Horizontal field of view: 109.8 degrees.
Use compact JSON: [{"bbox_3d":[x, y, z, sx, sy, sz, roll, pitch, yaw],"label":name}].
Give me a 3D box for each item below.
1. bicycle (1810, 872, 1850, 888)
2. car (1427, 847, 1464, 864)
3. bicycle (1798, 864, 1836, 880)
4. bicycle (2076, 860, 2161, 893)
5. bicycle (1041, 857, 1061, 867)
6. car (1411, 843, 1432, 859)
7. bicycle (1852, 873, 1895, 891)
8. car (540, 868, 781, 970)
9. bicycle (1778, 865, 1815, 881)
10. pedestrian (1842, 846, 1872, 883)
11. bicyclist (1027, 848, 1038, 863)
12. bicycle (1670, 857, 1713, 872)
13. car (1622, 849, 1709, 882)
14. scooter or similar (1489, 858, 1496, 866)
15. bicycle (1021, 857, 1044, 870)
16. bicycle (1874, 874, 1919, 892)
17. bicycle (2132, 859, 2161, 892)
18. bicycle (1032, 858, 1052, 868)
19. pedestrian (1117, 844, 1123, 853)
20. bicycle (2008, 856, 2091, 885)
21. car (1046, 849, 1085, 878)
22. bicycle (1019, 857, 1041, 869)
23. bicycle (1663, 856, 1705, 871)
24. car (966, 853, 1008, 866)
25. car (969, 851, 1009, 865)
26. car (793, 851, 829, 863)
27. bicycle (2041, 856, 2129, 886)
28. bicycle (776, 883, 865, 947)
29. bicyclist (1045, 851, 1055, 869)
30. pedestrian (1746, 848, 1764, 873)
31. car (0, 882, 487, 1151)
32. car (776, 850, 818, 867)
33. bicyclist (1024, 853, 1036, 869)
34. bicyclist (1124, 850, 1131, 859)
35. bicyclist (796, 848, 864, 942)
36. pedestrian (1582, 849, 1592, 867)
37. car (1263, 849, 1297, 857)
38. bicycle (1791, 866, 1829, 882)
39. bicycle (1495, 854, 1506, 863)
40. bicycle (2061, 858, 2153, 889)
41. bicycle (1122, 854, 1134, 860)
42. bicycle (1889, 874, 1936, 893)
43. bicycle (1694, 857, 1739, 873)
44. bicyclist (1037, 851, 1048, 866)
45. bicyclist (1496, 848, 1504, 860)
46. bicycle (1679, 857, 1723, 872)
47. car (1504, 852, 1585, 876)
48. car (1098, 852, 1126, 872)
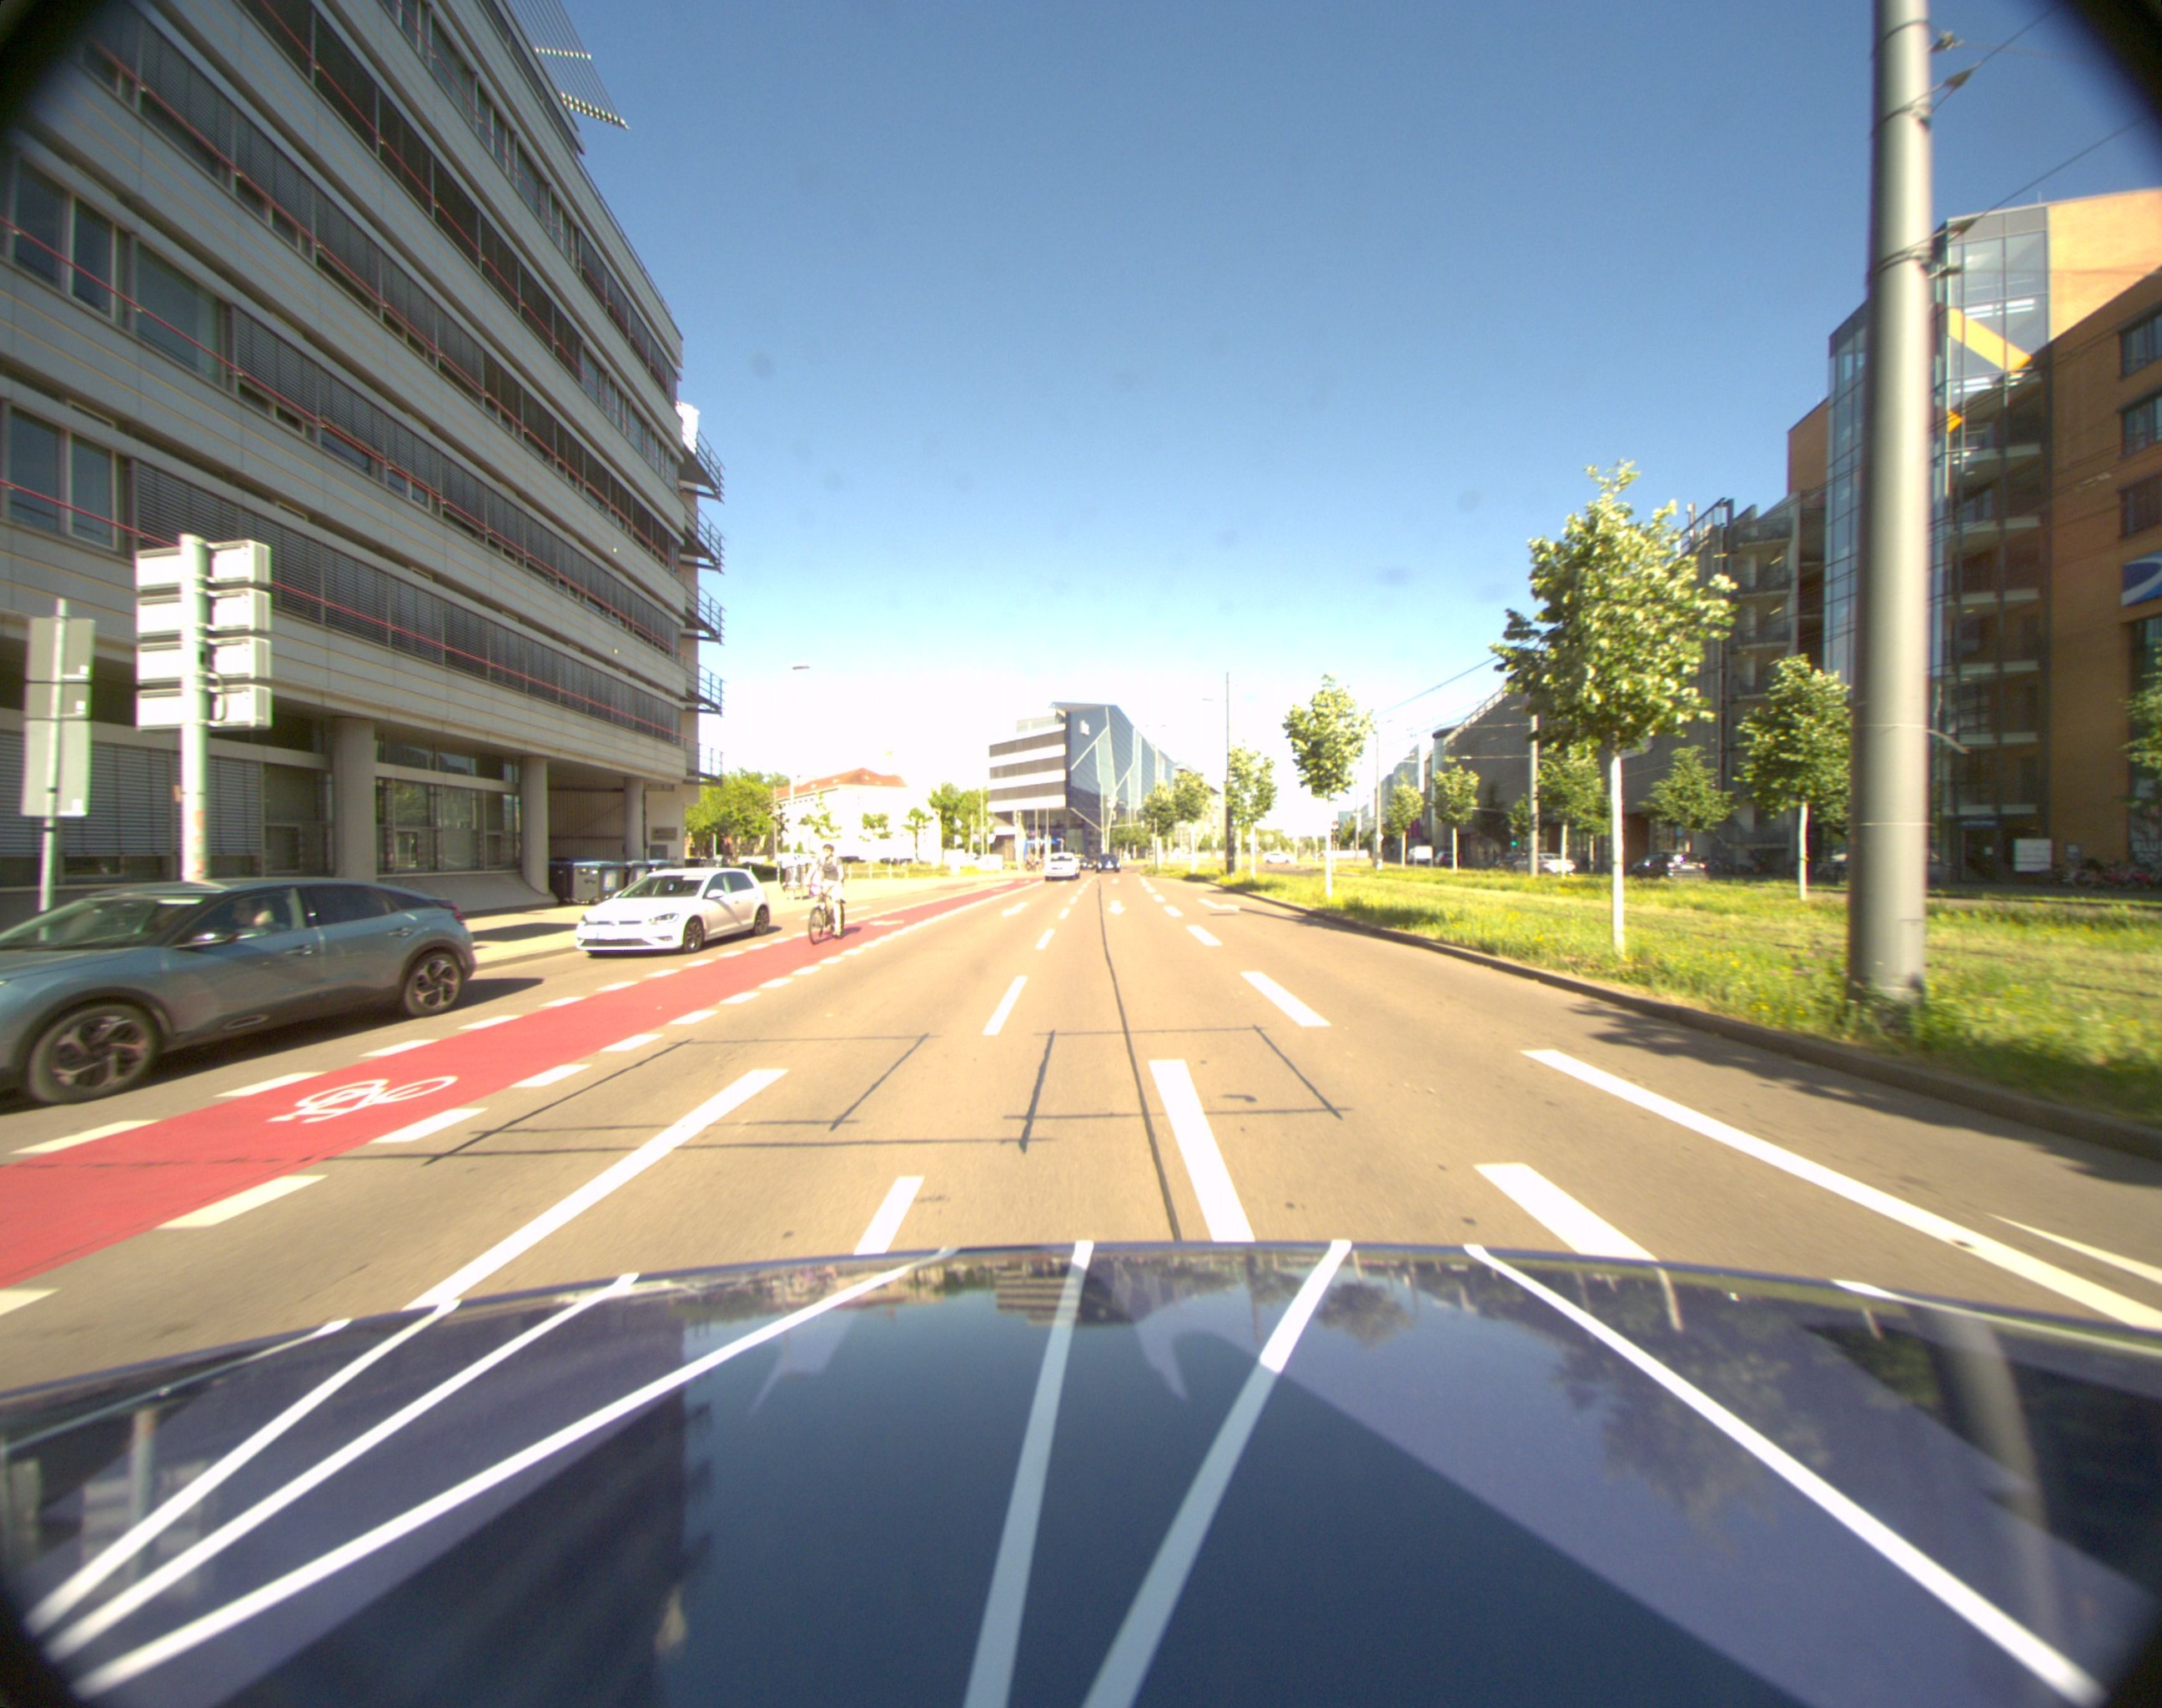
[{"bbox_3d":[38.139,1.322,38.685,1.449,0.814,0.446,-1,1,9],"label":"bicycle"},{"bbox_3d":[36.868,0.148,76.933,1.998,1.671,4.540,0,1,6],"label":"car"},{"bbox_3d":[38.796,0.964,40.050,1.449,0.814,0.446,-1,1,9],"label":"bicycle"},{"bbox_3d":[38.330,0.828,27.958,2.177,1.117,0.754,-1,1,9],"label":"bicycle"},{"bbox_3d":[-2.989,0.807,76.335,1.893,1.032,0.607,1,0,9],"label":"bicycle"},{"bbox_3d":[43.713,-0.412,97.427,2.222,2.002,5.265,0,1,26],"label":"car"},{"bbox_3d":[38.109,1.336,36.544,1.449,0.814,0.446,-1,1,9],"label":"bicycle"},{"bbox_3d":[-7.329,1.040,13.855,1.777,1.395,4.294,-3,0,3],"label":"car"},{"bbox_3d":[39.051,1.041,41.488,1.449,0.814,0.446,-1,1,9],"label":"bicycle"},{"bbox_3d":[36.027,0.492,35.269,0.597,1.675,0.778,0,1,2],"label":"pedestrian"},{"bbox_3d":[-4.390,0.130,68.549,0.736,1.369,0.698,1,0,30],"label":"bicyclist"},{"bbox_3d":[39.506,0.666,49.193,2.177,0.949,0.493,-1,1,9],"label":"bicycle"},{"bbox_3d":[25.853,0.477,33.754,1.431,1.352,3.296,0,1,3],"label":"car"},{"bbox_3d":[43.833,0.826,80.913,0.301,0.846,1.228,0,1,12],"label":"scooter or similar"},{"bbox_3d":[-4.351,0.836,68.517,2.006,1.098,0.698,1,0,30],"label":"bicycle"},{"bbox_3d":[37.689,1.348,35.137,1.449,0.814,0.446,-1,1,9],"label":"bicycle"},{"bbox_3d":[38.256,0.730,26.367,2.177,1.117,0.754,-1,1,9],"label":"bicycle"},{"bbox_3d":[-3.705,0.825,71.635,1.704,0.948,0.697,1,0,15],"label":"bicycle"},{"bbox_3d":[6.319,-0.920,123.124,0.855,1.547,0.614,0,1,21],"label":"pedestrian"},{"bbox_3d":[39.521,0.674,31.029,2.177,1.117,0.754,-1,1,9],"label":"bicycle"},{"bbox_3d":[-0.915,0.537,46.667,1.873,1.621,4.339,-1,1,5],"label":"car"},{"bbox_3d":[-5.216,0.964,77.987,2.007,1.098,0.698,4,1,17],"label":"bicycle"},{"bbox_3d":[39.535,0.624,49.794,2.177,0.949,0.493,-1,1,9],"label":"bicycle"},{"bbox_3d":[-11.164,0.630,90.276,4.475,1.423,1.843,0,2,16],"label":"car"},{"bbox_3d":[-10.422,0.456,86.033,3.991,1.547,1.877,0,1,18],"label":"car"},{"bbox_3d":[-34.479,0.406,96.979,3.991,1.547,1.877,0,1,20],"label":"car"},{"bbox_3d":[39.540,0.669,29.940,2.177,1.117,0.754,-1,1,9],"label":"bicycle"},{"bbox_3d":[-4.880,1.119,14.391,0.827,1.031,1.892,-2,0,6],"label":"bicycle"},{"bbox_3d":[-3.128,0.557,76.357,0.905,1.788,0.550,1,0,9],"label":"bicyclist"},{"bbox_3d":[41.018,0.397,46.253,0.636,1.544,0.662,0,1,21],"label":"pedestrian"},{"bbox_3d":[-7.644,1.103,6.430,1.726,1.515,4.398,-1,1,1],"label":"car"},{"bbox_3d":[-34.866,0.536,93.252,4.644,1.970,1.877,0,1,20],"label":"car"},{"bbox_3d":[-5.254,0.722,77.998,1.001,1.645,0.596,4,1,17],"label":"bicyclist"},{"bbox_3d":[6.891,0.075,112.371,0.760,1.402,0.773,0,1,27],"label":"bicyclist"},{"bbox_3d":[-4.724,0.743,14.370,0.808,1.683,1.051,-2,1,6],"label":"bicyclist"},{"bbox_3d":[42.665,0.304,64.063,0.490,1.510,0.650,0,1,20],"label":"pedestrian"},{"bbox_3d":[26.815,-0.152,102.490,3.989,1.084,2.004,0,1,31],"label":"car"},{"bbox_3d":[38.884,1.091,40.549,1.449,0.814,0.446,-1,1,9],"label":"bicycle"},{"bbox_3d":[48.218,0.542,87.380,0.597,1.004,2.572,0,1,16],"label":"bicycle"},{"bbox_3d":[39.035,0.733,28.923,2.177,1.117,0.754,-1,1,9],"label":"bicycle"},{"bbox_3d":[6.960,0.471,112.512,0.768,0.835,2.572,0,1,27],"label":"bicycle"},{"bbox_3d":[37.492,1.333,34.267,1.449,0.814,0.446,-1,1,9],"label":"bicycle"},{"bbox_3d":[39.748,0.707,47.520,2.177,0.949,0.493,-1,1,9],"label":"bicycle"},{"bbox_3d":[-3.638,0.383,71.684,0.825,1.395,0.590,1,0,15],"label":"bicyclist"},{"bbox_3d":[48.214,-0.041,87.396,0.592,1.399,1.314,0,1,16],"label":"bicyclist"},{"bbox_3d":[39.618,0.668,48.564,2.177,0.949,0.493,-1,1,9],"label":"bicycle"},{"bbox_3d":[27.282,0.535,44.942,1.998,1.326,4.790,0,0,3],"label":"car"},{"bbox_3d":[2.605,0.614,62.084,1.872,1.547,4.002,0,1,8],"label":"car"}]
